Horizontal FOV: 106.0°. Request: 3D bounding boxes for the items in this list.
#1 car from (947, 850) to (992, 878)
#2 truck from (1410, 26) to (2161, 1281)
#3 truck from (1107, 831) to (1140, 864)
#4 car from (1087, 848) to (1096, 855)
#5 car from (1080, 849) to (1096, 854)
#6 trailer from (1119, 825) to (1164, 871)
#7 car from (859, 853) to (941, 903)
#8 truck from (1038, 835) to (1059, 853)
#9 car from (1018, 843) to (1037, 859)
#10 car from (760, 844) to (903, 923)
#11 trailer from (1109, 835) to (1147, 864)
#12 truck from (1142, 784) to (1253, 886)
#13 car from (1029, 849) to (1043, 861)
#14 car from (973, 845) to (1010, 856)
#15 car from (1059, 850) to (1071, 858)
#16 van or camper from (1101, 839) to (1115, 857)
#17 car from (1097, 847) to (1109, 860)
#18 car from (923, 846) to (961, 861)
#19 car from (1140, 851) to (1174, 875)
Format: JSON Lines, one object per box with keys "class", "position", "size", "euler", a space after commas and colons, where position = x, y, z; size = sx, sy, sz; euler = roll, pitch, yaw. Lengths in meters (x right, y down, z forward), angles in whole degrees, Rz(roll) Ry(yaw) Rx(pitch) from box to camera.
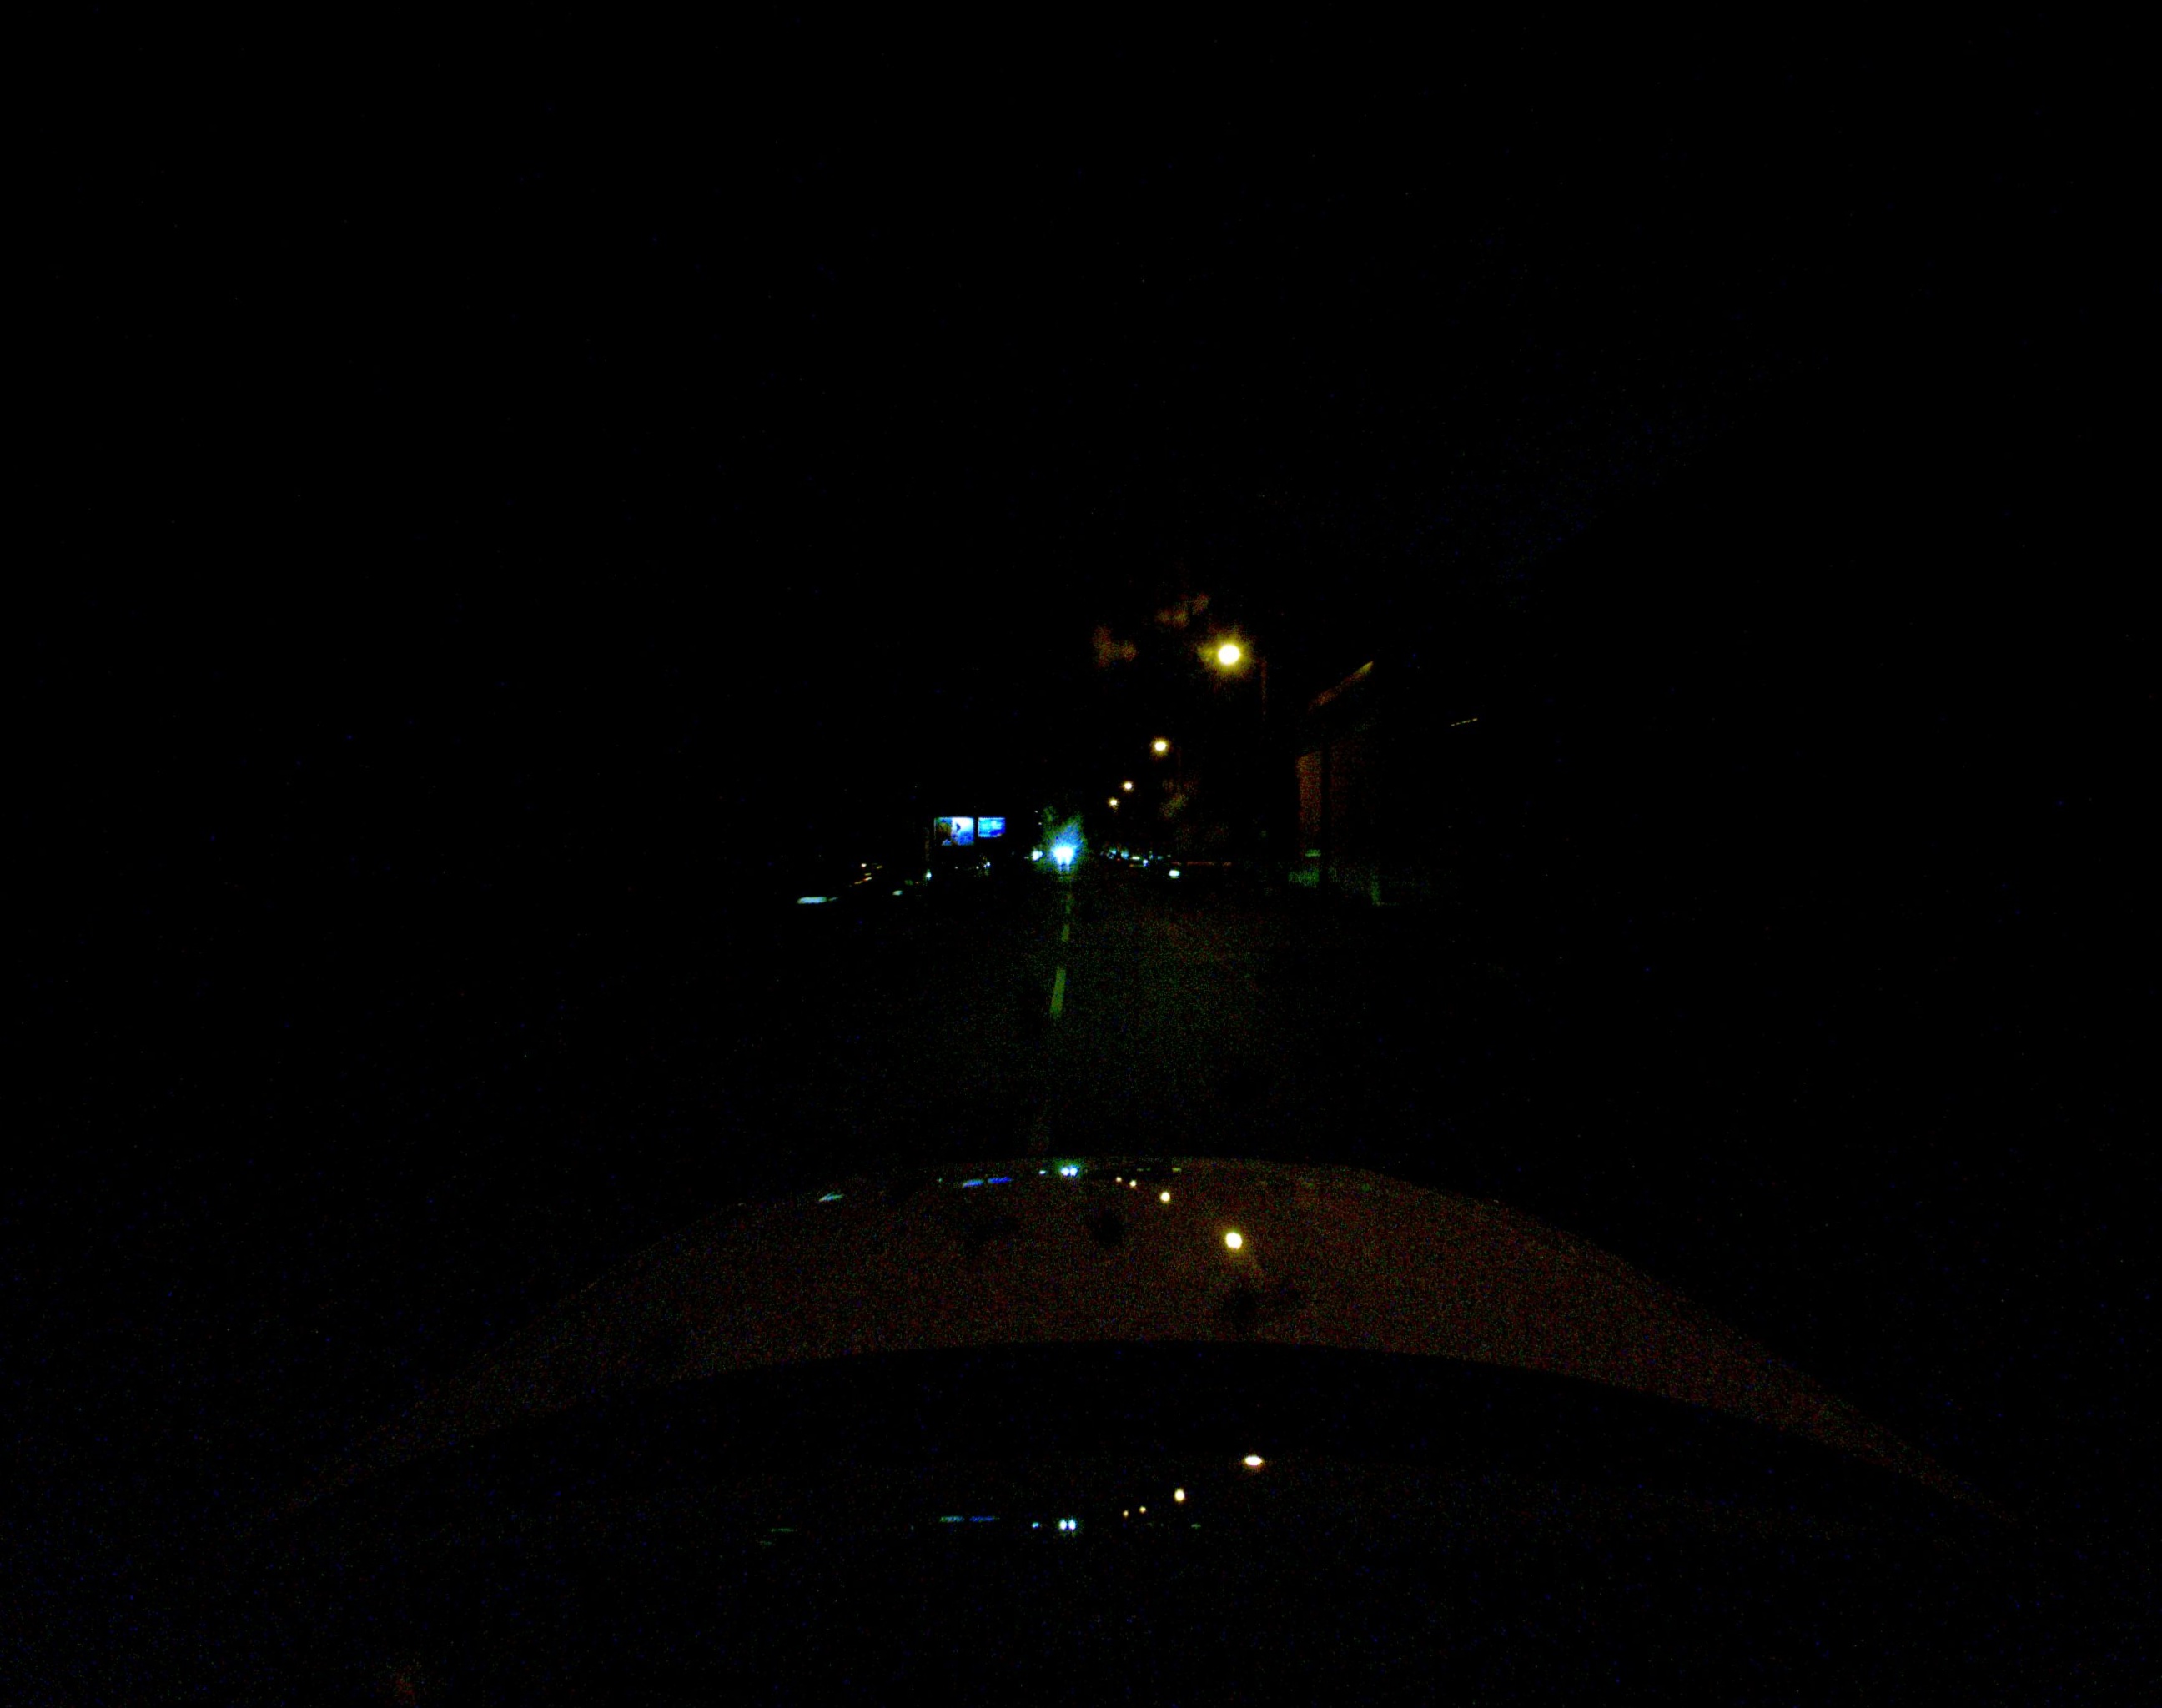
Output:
{"class": "car", "position": [-5.865, 0.499, 43.248], "size": [1.835, 1.420, 3.999], "euler": [1, 0, 0]}
{"class": "truck", "position": [4.924, -0.631, 4.059], "size": [2.818, 3.983, 10.349], "euler": [-1, 0, 3]}
{"class": "truck", "position": [4.597, -0.705, 89.297], "size": [3.141, 3.463, 6.672], "euler": [-1, 0, 0]}
{"class": "car", "position": [2.533, -0.558, 193.923], "size": [1.987, 1.684, 3.999], "euler": [1, 0, 0]}
{"class": "car", "position": [1.972, -0.740, 238.450], "size": [4.512, 1.379, 2.002], "euler": [1, 0, 3]}
{"class": "trailer", "position": [4.766, -0.431, 65.834], "size": [2.680, 3.464, 7.802], "euler": [1, 0, -2]}
{"class": "car", "position": [-5.400, 0.675, 24.787], "size": [1.597, 1.354, 3.999], "euler": [1, 0, -1]}
{"class": "truck", "position": [-6.971, -2.063, 173.012], "size": [3.884, 3.621, 8.245], "euler": [1, 0, -5]}
{"class": "car", "position": [-6.279, -0.375, 95.739], "size": [1.987, 1.794, 3.999], "euler": [1, 0, 0]}
{"class": "car", "position": [-5.741, 0.632, 19.430], "size": [1.988, 1.636, 4.771], "euler": [1, 0, -1]}
{"class": "trailer", "position": [4.604, -0.385, 82.153], "size": [3.174, 2.749, 10.713], "euler": [-1, 0, 0]}
{"class": "truck", "position": [5.014, -0.720, 37.521], "size": [3.510, 3.983, 10.338], "euler": [-1, 0, -1]}
{"class": "car", "position": [-6.720, 0.185, 121.588], "size": [1.891, 1.736, 4.354], "euler": [1, 0, 0]}
{"class": "car", "position": [-12.352, -0.454, 112.296], "size": [4.633, 1.485, 1.985], "euler": [1, 0, -23]}
{"class": "car", "position": [-2.833, 0.023, 145.155], "size": [1.987, 1.398, 3.999], "euler": [1, 0, 0]}
{"class": "van or camper", "position": [4.054, -0.926, 123.189], "size": [1.987, 2.581, 4.915], "euler": [1, 0, 1]}
{"class": "car", "position": [3.874, -0.101, 143.581], "size": [1.987, 2.145, 3.999], "euler": [1, 0, 0]}
{"class": "car", "position": [-15.803, -0.073, 92.778], "size": [3.978, 1.651, 1.998], "euler": [1, 0, -3]}
{"class": "car", "position": [4.914, 0.591, 53.140], "size": [1.846, 1.519, 3.818], "euler": [-1, 0, 0]}
